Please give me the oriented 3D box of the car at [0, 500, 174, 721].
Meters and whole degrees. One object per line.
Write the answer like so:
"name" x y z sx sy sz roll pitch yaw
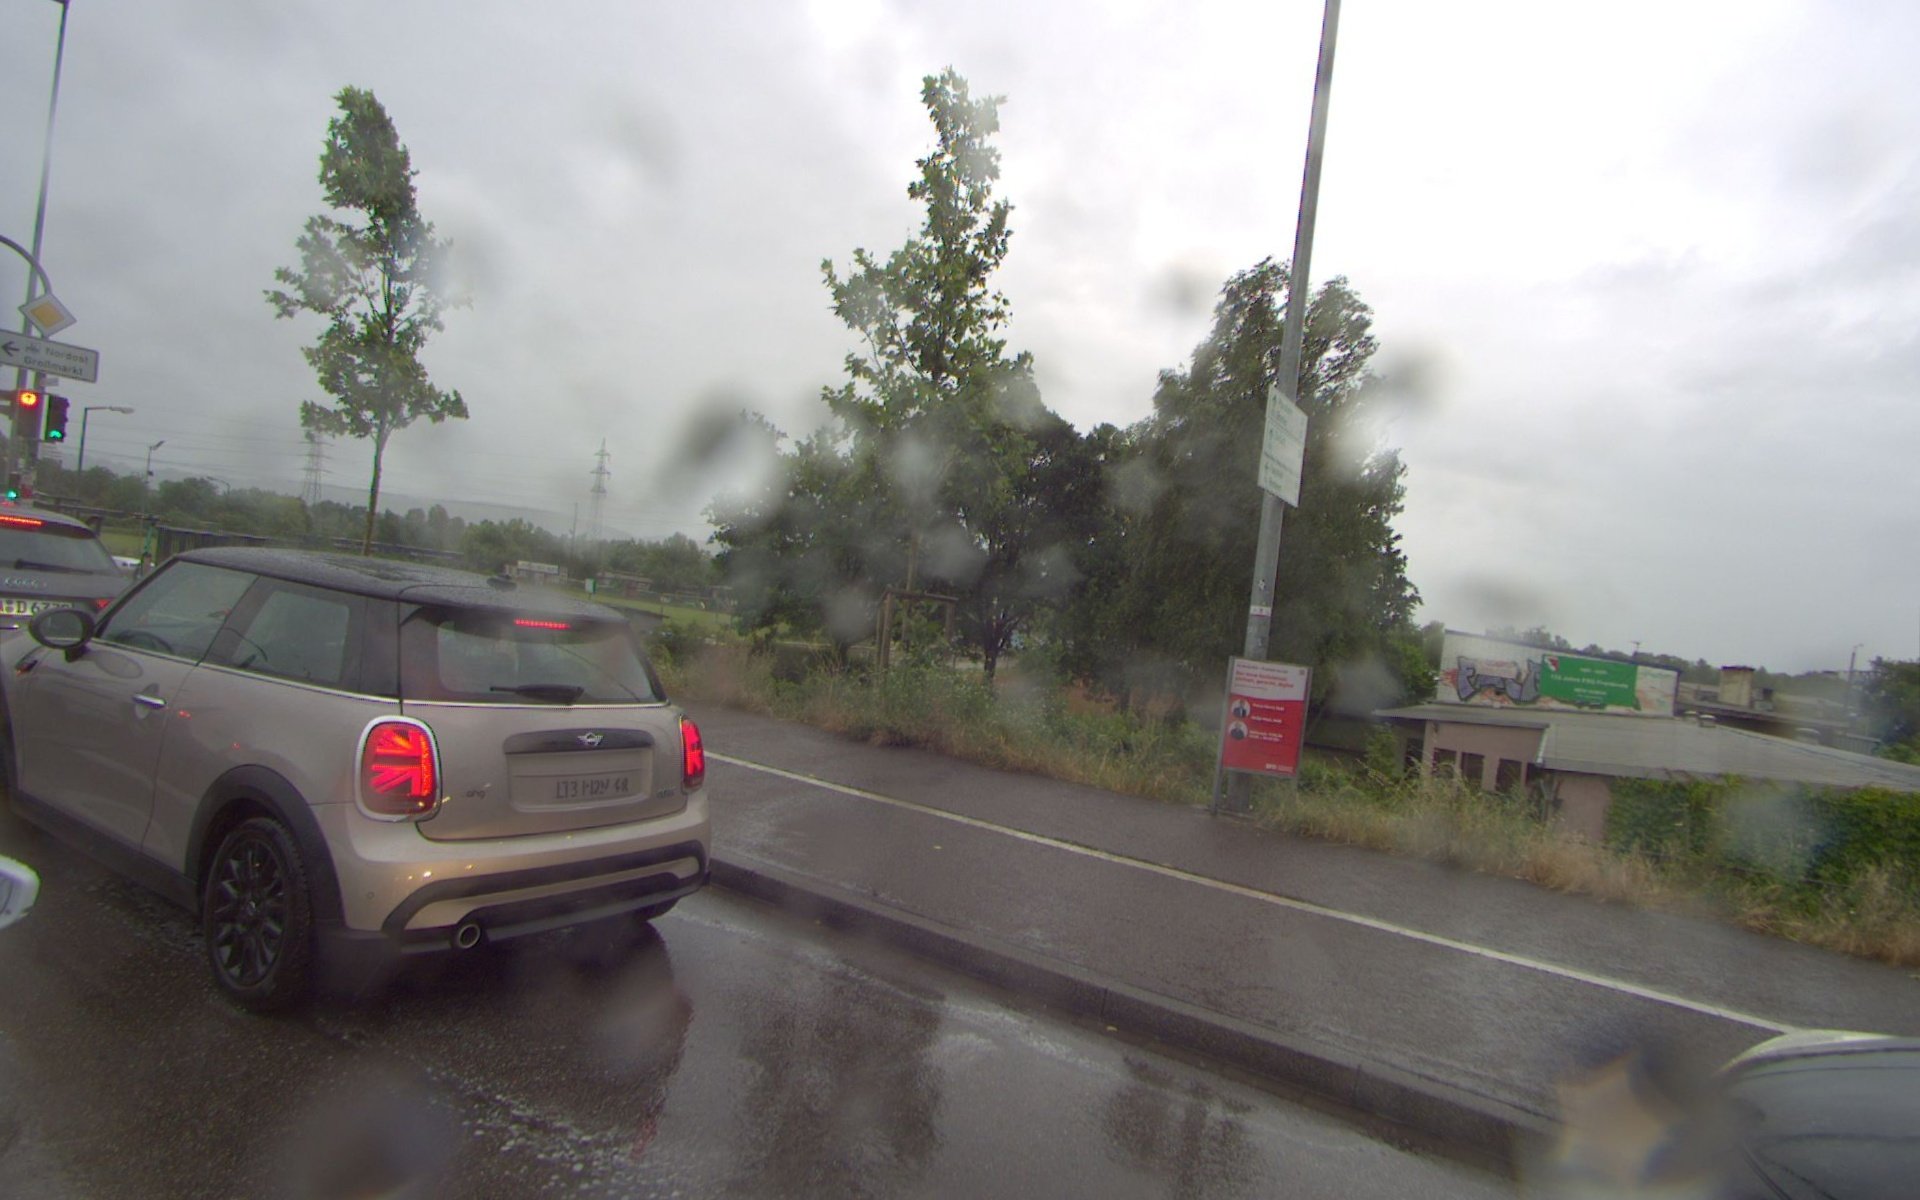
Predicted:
"car" -7.507 -0.067 7.247 3.569 1.383 1.600 5 -1 30

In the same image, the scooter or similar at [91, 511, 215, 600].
"scooter or similar" -13.865 -0.790 17.243 2.971 1.226 0.691 7 0 33

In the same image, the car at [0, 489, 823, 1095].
"car" -2.699 0.487 4.349 3.816 1.524 1.707 5 -4 32

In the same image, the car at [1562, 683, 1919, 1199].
"car" 2.764 1.128 1.043 3.557 1.526 1.556 7 -1 32
